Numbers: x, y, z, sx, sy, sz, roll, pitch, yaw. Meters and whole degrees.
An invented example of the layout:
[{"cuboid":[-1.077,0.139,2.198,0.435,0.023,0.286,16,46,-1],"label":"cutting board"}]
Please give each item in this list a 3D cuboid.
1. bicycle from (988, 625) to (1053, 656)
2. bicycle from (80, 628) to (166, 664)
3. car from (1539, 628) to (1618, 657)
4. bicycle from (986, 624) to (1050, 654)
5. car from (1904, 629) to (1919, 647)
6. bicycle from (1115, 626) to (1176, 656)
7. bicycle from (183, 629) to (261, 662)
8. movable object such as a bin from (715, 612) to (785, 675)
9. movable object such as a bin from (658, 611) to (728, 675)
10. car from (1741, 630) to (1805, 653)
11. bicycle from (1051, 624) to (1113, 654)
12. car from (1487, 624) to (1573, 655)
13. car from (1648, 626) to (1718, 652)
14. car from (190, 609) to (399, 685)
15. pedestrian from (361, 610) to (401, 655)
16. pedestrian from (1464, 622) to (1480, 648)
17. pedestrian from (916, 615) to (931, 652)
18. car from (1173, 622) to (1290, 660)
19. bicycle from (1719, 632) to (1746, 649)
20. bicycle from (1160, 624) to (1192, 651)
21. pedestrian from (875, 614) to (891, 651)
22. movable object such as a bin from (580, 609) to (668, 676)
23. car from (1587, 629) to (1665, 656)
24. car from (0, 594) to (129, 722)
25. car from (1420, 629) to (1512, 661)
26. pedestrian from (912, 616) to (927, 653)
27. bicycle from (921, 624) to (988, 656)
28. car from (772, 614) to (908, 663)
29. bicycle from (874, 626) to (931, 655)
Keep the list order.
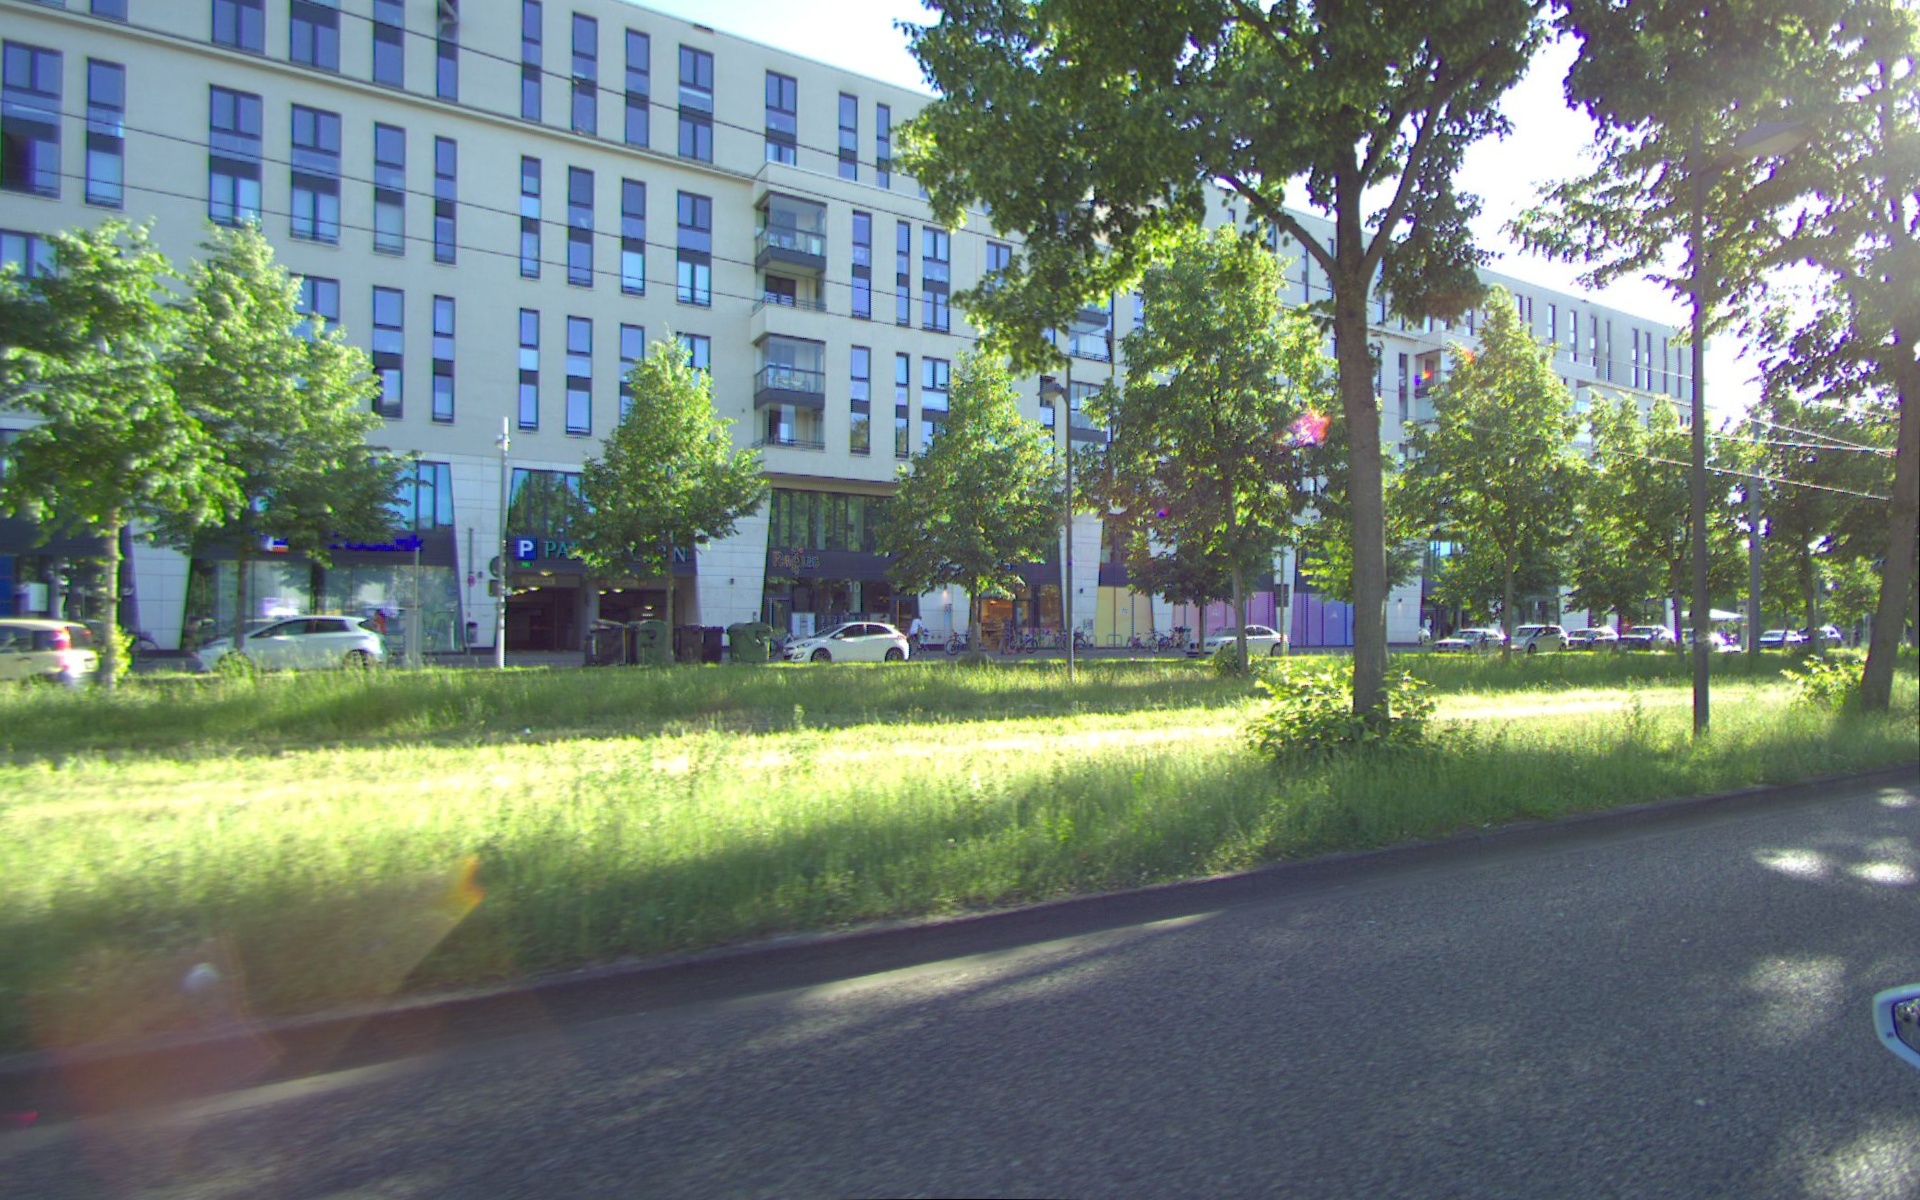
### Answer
[{"cuboid":[2.674,1.789,44.513,2.732,1.298,0.945,2,0,-23],"label":"bicycle"},{"cuboid":[-24.510,1.340,29.446,1.823,1.002,0.616,2,0,-25],"label":"bicycle"},{"cuboid":[34.466,2.357,55.967,4.407,1.460,1.982,2,0,-32],"label":"car"},{"cuboid":[2.654,1.785,45.720,2.732,1.298,0.945,2,0,-23],"label":"bicycle"},{"cuboid":[80.962,3.236,83.894,4.558,1.454,1.869,2,0,-31],"label":"car"},{"cuboid":[9.063,1.978,49.123,2.723,1.298,0.948,2,0,32],"label":"bicycle"},{"cuboid":[-22.430,1.391,30.551,1.825,0.966,0.577,2,1,-28],"label":"bicycle"},{"cuboid":[-6.572,1.327,31.297,1.538,1.818,1.960,2,0,-31],"label":"movable object such as a bin"},{"cuboid":[-8.092,1.274,30.368,1.538,1.818,1.960,2,0,-31],"label":"movable object such as a bin"},{"cuboid":[54.688,2.794,67.547,4.215,1.460,1.949,2,0,-30],"label":"car"},{"cuboid":[5.708,1.808,46.915,2.732,1.298,0.945,2,0,-23],"label":"bicycle"},{"cuboid":[30.127,2.099,53.084,4.404,1.460,1.984,2,0,-30],"label":"car"},{"cuboid":[44.588,2.431,61.939,4.407,1.460,1.982,2,0,-32],"label":"car"},{"cuboid":[-16.904,1.175,25.751,4.291,1.752,1.982,2,0,-32],"label":"car"},{"cuboid":[-19.861,1.115,34.464,1.018,1.487,0.939,2,1,-39],"label":"pedestrian"},{"cuboid":[33.771,2.305,66.265,0.712,1.673,0.632,2,1,-32],"label":"pedestrian"},{"cuboid":[-1.586,1.474,43.892,0.511,1.570,0.502,2,0,12],"label":"pedestrian"},{"cuboid":[11.512,1.742,42.456,4.872,1.460,1.982,2,0,-32],"label":"car"},{"cuboid":[61.532,3.247,80.037,1.806,1.269,0.589,2,0,-8],"label":"bicycle"},{"cuboid":[10.820,1.898,50.315,1.590,1.298,0.594,2,0,-32],"label":"bicycle"},{"cuboid":[-3.358,1.409,43.859,0.511,1.570,0.502,2,0,12],"label":"pedestrian"},{"cuboid":[-9.783,1.216,29.229,1.988,1.818,1.959,2,0,-32],"label":"movable object such as a bin"},{"cuboid":[39.251,2.522,59.158,4.883,1.460,1.982,2,0,-32],"label":"car"},{"cuboid":[-16.824,0.934,16.918,3.949,2.040,1.986,2,0,-27],"label":"car"},{"cuboid":[25.504,2.267,50.610,4.727,1.460,1.982,2,0,-32],"label":"car"},{"cuboid":[-1.749,1.469,43.320,0.511,1.570,0.502,2,0,12],"label":"pedestrian"},{"cuboid":[-0.242,1.721,43.585,2.732,1.298,0.945,2,0,-23],"label":"bicycle"},{"cuboid":[-3.938,1.275,33.170,3.976,1.460,1.982,2,0,-32],"label":"car"},{"cuboid":[-2.410,1.682,42.300,2.357,1.152,0.859,2,0,-40],"label":"bicycle"}]
